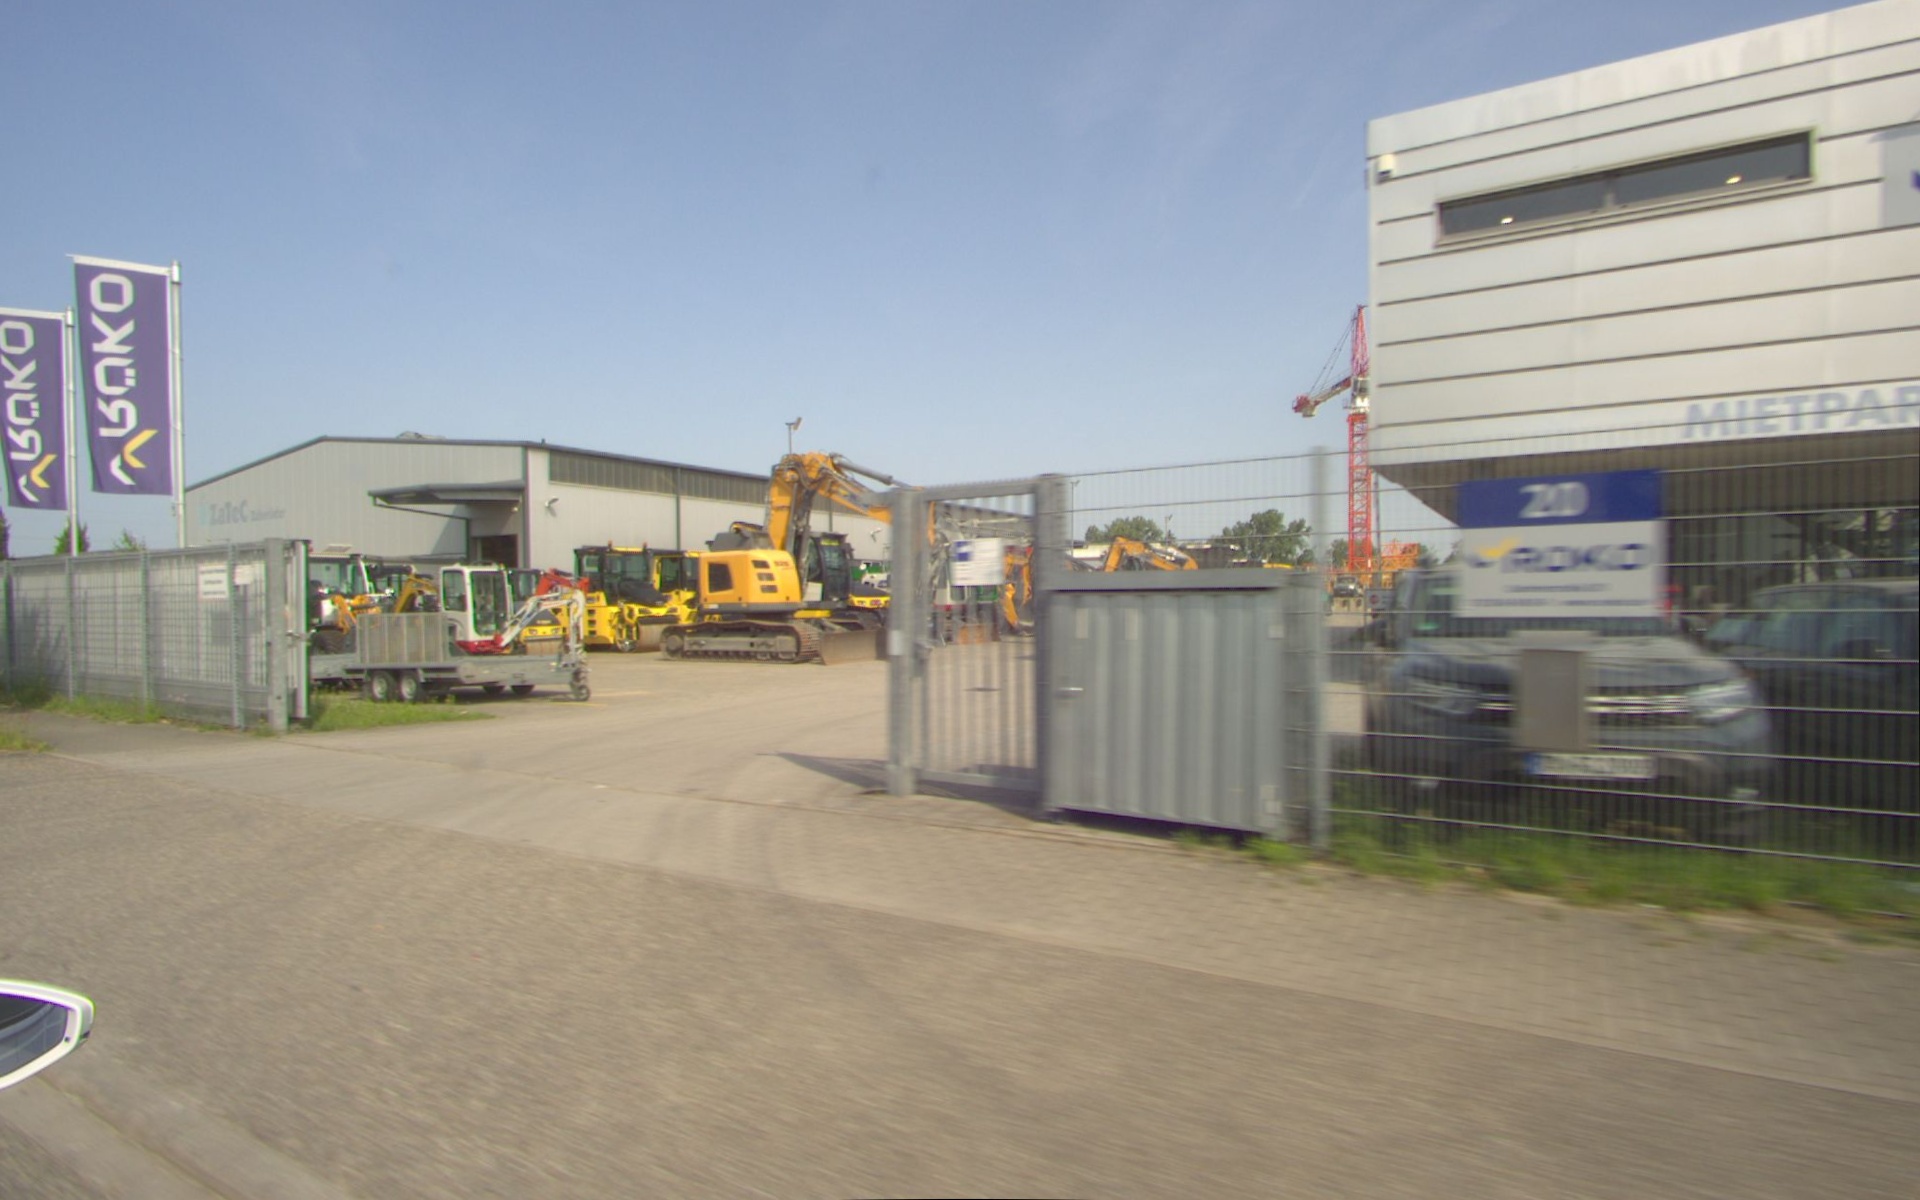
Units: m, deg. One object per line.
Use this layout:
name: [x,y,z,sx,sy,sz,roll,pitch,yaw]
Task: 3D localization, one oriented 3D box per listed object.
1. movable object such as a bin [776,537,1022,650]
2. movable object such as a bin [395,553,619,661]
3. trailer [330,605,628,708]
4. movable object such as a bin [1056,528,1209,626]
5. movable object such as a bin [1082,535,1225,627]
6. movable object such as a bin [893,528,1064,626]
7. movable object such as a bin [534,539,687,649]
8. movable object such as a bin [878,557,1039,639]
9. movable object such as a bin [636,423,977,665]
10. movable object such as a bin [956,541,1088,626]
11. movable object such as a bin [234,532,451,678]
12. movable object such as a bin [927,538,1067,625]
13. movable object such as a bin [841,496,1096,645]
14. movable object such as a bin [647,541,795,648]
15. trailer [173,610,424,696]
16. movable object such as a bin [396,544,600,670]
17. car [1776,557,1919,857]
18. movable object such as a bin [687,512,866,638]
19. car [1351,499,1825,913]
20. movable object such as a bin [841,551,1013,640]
movable object such as a bin: [-1.709,-0.207,27.182,6.253,2.753,2.695,1,2,30]
movable object such as a bin: [-11.847,0.162,26.141,5.262,2.525,2.916,0,1,32]
trailer: [-7.287,0.780,15.041,4.499,1.328,1.989,-1,0,33]
movable object such as a bin: [7.409,-0.920,43.108,5.929,3.982,2.714,0,1,28]
movable object such as a bin: [8.923,-0.825,46.173,5.929,3.982,2.714,0,1,28]
movable object such as a bin: [0.757,-0.920,43.386,7.091,3.982,2.463,0,1,28]
movable object such as a bin: [-10.455,-0.164,29.908,4.427,3.072,1.988,0,1,33]
movable object such as a bin: [-0.110,-0.097,36.351,5.605,2.807,2.050,1,2,30]
movable object such as a bin: [-3.681,-1.150,23.523,7.558,4.871,3.311,1,1,30]
movable object such as a bin: [3.037,-0.771,49.580,6.048,3.982,2.448,0,1,28]
movable object such as a bin: [-13.205,0.092,21.307,5.086,2.789,1.882,0,1,33]
movable object such as a bin: [1.709,-0.795,46.490,6.048,3.832,2.448,0,1,28]
movable object such as a bin: [0.195,-0.837,29.785,7.099,3.983,2.913,1,2,30]
movable object such as a bin: [-7.376,-0.155,30.769,4.310,3.072,1.988,0,1,33]
trailer: [-11.366,0.825,17.155,4.230,1.260,1.941,0,1,31]
movable object such as a bin: [-10.183,0.128,21.942,4.700,2.491,1.986,0,1,36]
car: [5.975,0.546,5.181,1.869,1.515,4.221,1,1,28]
movable object such as a bin: [-6.224,-0.773,33.790,5.636,3.926,2.678,0,1,32]
car: [3.678,0.456,6.579,1.868,1.760,4.225,0,0,24]
movable object such as a bin: [-1.164,-0.175,33.964,5.605,2.807,2.050,1,2,30]
